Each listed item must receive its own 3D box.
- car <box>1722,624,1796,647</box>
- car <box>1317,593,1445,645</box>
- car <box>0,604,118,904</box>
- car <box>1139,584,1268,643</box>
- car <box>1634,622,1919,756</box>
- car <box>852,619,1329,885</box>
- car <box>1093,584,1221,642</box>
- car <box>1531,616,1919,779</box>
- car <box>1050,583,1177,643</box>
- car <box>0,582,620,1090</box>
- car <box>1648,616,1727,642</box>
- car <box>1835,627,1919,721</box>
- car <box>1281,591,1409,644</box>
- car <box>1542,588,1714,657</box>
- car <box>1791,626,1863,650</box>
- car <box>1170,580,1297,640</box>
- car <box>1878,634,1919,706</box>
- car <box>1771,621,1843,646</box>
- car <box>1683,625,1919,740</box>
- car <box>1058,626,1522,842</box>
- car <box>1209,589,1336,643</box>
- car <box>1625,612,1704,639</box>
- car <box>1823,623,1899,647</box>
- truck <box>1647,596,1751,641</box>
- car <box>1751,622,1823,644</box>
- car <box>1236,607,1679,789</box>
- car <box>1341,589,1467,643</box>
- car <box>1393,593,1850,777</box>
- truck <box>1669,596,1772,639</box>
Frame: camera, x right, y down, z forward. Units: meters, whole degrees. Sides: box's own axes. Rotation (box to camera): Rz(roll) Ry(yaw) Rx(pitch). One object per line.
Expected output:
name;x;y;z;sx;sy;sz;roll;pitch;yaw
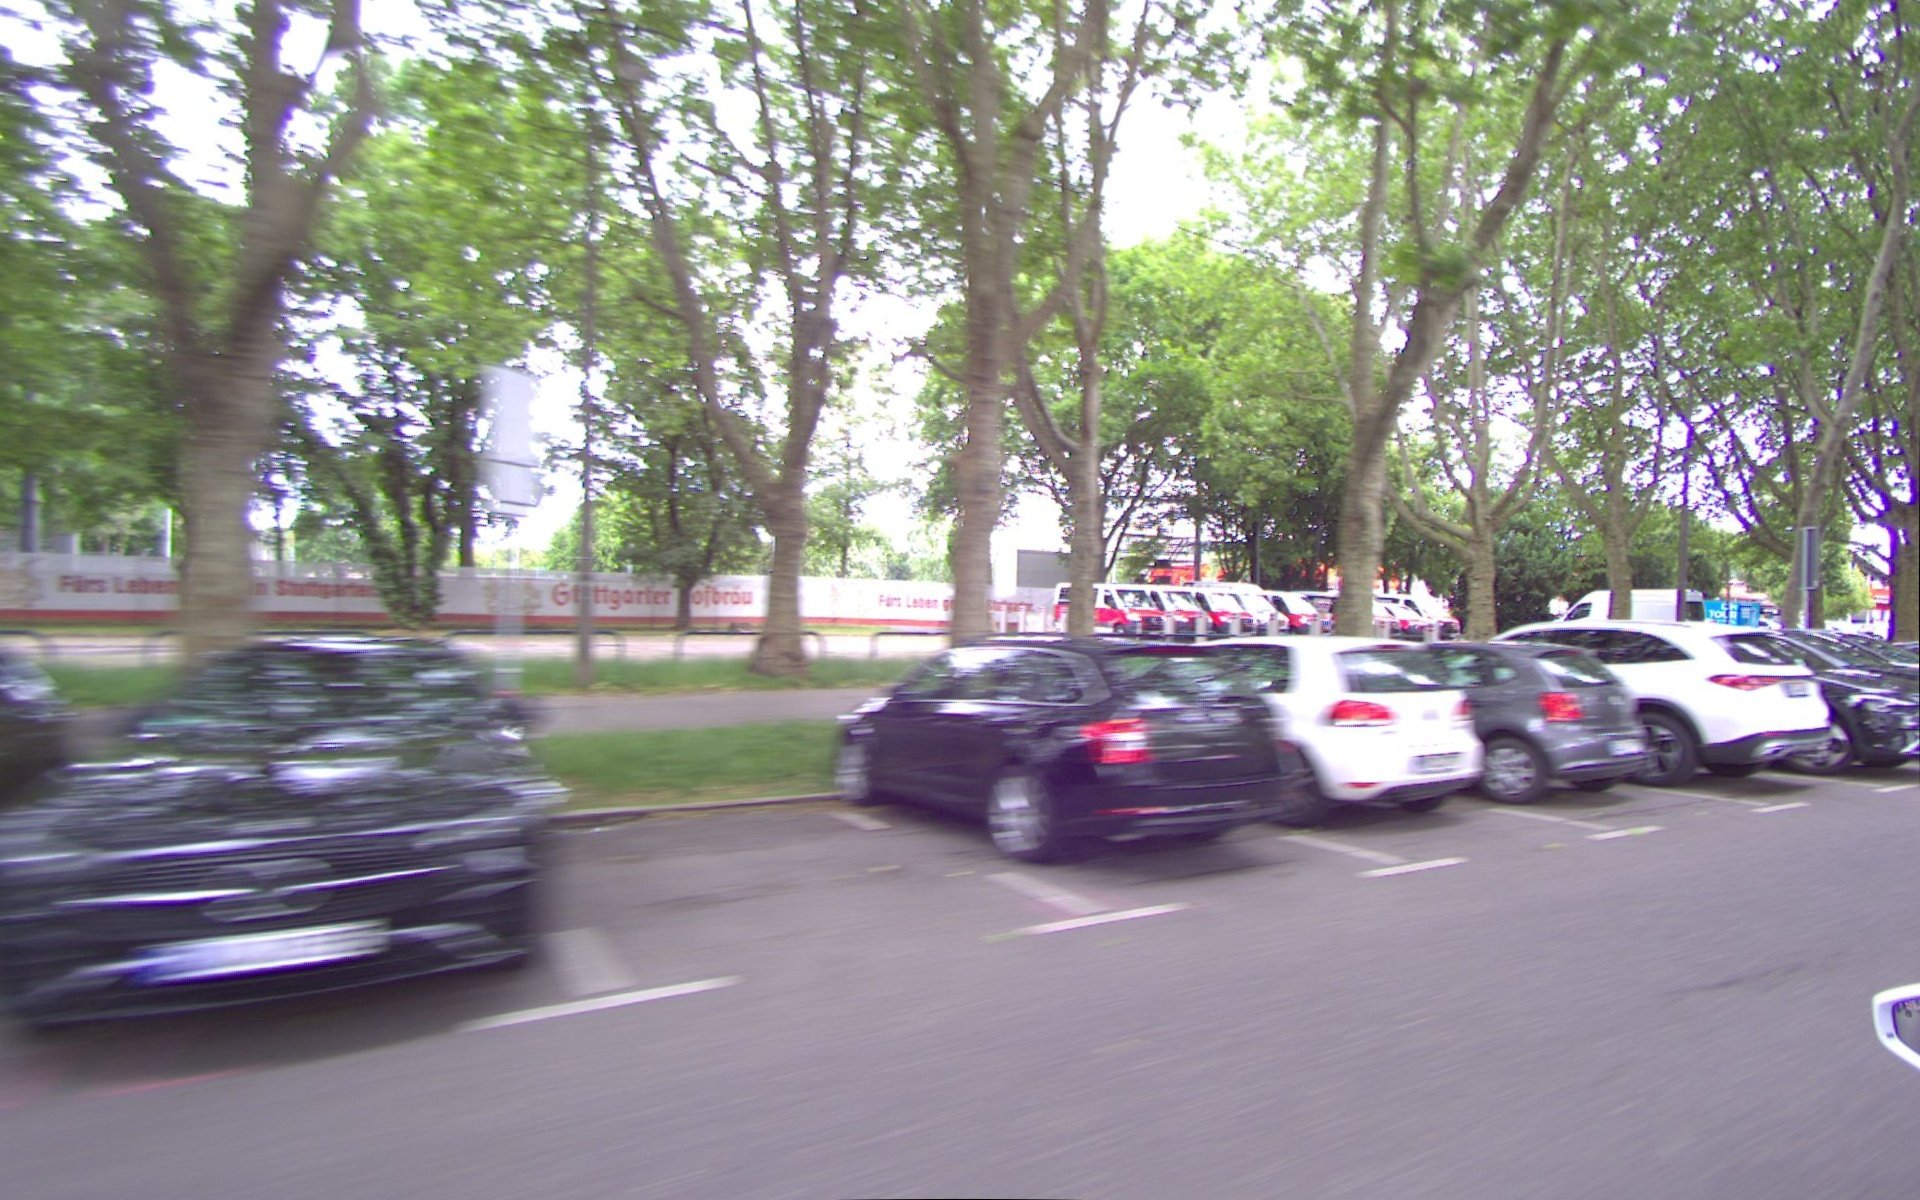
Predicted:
car;55.773;2.456;70.203;1.518;1.368;3.737;1;1;-30
car;20.962;0.912;50.367;1.976;2.336;5.975;1;1;-29
car;-5.449;0.734;4.483;1.753;1.471;4.429;2;-2;-29
car;10.582;0.521;44.252;1.976;2.349;5.975;1;1;-29
car;11.808;1.135;13.827;1.814;1.629;3.807;1;-2;-31
car;0.702;0.915;7.759;1.520;1.490;3.975;1;-2;-31
car;8.309;0.494;43.074;1.976;2.283;5.975;1;1;-29
car;9.465;1.044;12.265;1.776;1.629;4.054;1;-2;-26
car;6.259;0.466;41.762;1.976;2.283;5.975;1;1;-29
car;-3.040;0.766;5.294;1.751;1.471;4.433;1;-2;-27
car;47.500;1.863;65.642;1.692;1.506;3.784;1;1;-30
car;17.743;1.280;17.234;1.675;1.629;3.807;1;-2;-31
car;18.795;0.796;49.362;1.976;2.361;5.975;1;1;-29
car;28.041;0.889;42.440;1.975;2.632;5.762;1;1;-28
car;64.356;2.814;74.638;1.518;1.611;3.735;1;1;-31
car;12.460;0.385;46.226;1.976;2.560;5.975;1;1;-29
car;19.945;1.332;18.384;1.675;1.383;4.378;1;-2;-31
car;62.090;2.419;73.709;1.518;1.611;3.735;1;1;-31
car;13.843;1.223;15.524;1.675;1.629;4.023;2;-2;-31
car;2.719;1.013;9.092;1.842;1.493;3.739;1;-2;-30
car;14.521;0.699;47.095;1.976;2.270;5.975;1;1;-29
car;44.973;1.623;64.176;1.659;1.506;3.784;1;1;-30
car;69.416;2.698;77.458;1.668;1.611;3.981;2;1;-20
truck;49.630;1.215;67.603;1.905;2.779;5.289;1;1;-28
car;59.643;2.354;72.484;1.518;1.368;3.735;1;1;-31
car;4.853;0.870;10.328;1.675;1.490;3.807;1;-2;-31
car;22.900;0.788;52.083;1.976;2.560;5.975;1;1;-29
car;7.084;0.826;11.149;1.931;1.649;3.807;1;-2;-31
truck;53.065;1.171;70.201;2.179;2.779;5.214;1;1;-29
